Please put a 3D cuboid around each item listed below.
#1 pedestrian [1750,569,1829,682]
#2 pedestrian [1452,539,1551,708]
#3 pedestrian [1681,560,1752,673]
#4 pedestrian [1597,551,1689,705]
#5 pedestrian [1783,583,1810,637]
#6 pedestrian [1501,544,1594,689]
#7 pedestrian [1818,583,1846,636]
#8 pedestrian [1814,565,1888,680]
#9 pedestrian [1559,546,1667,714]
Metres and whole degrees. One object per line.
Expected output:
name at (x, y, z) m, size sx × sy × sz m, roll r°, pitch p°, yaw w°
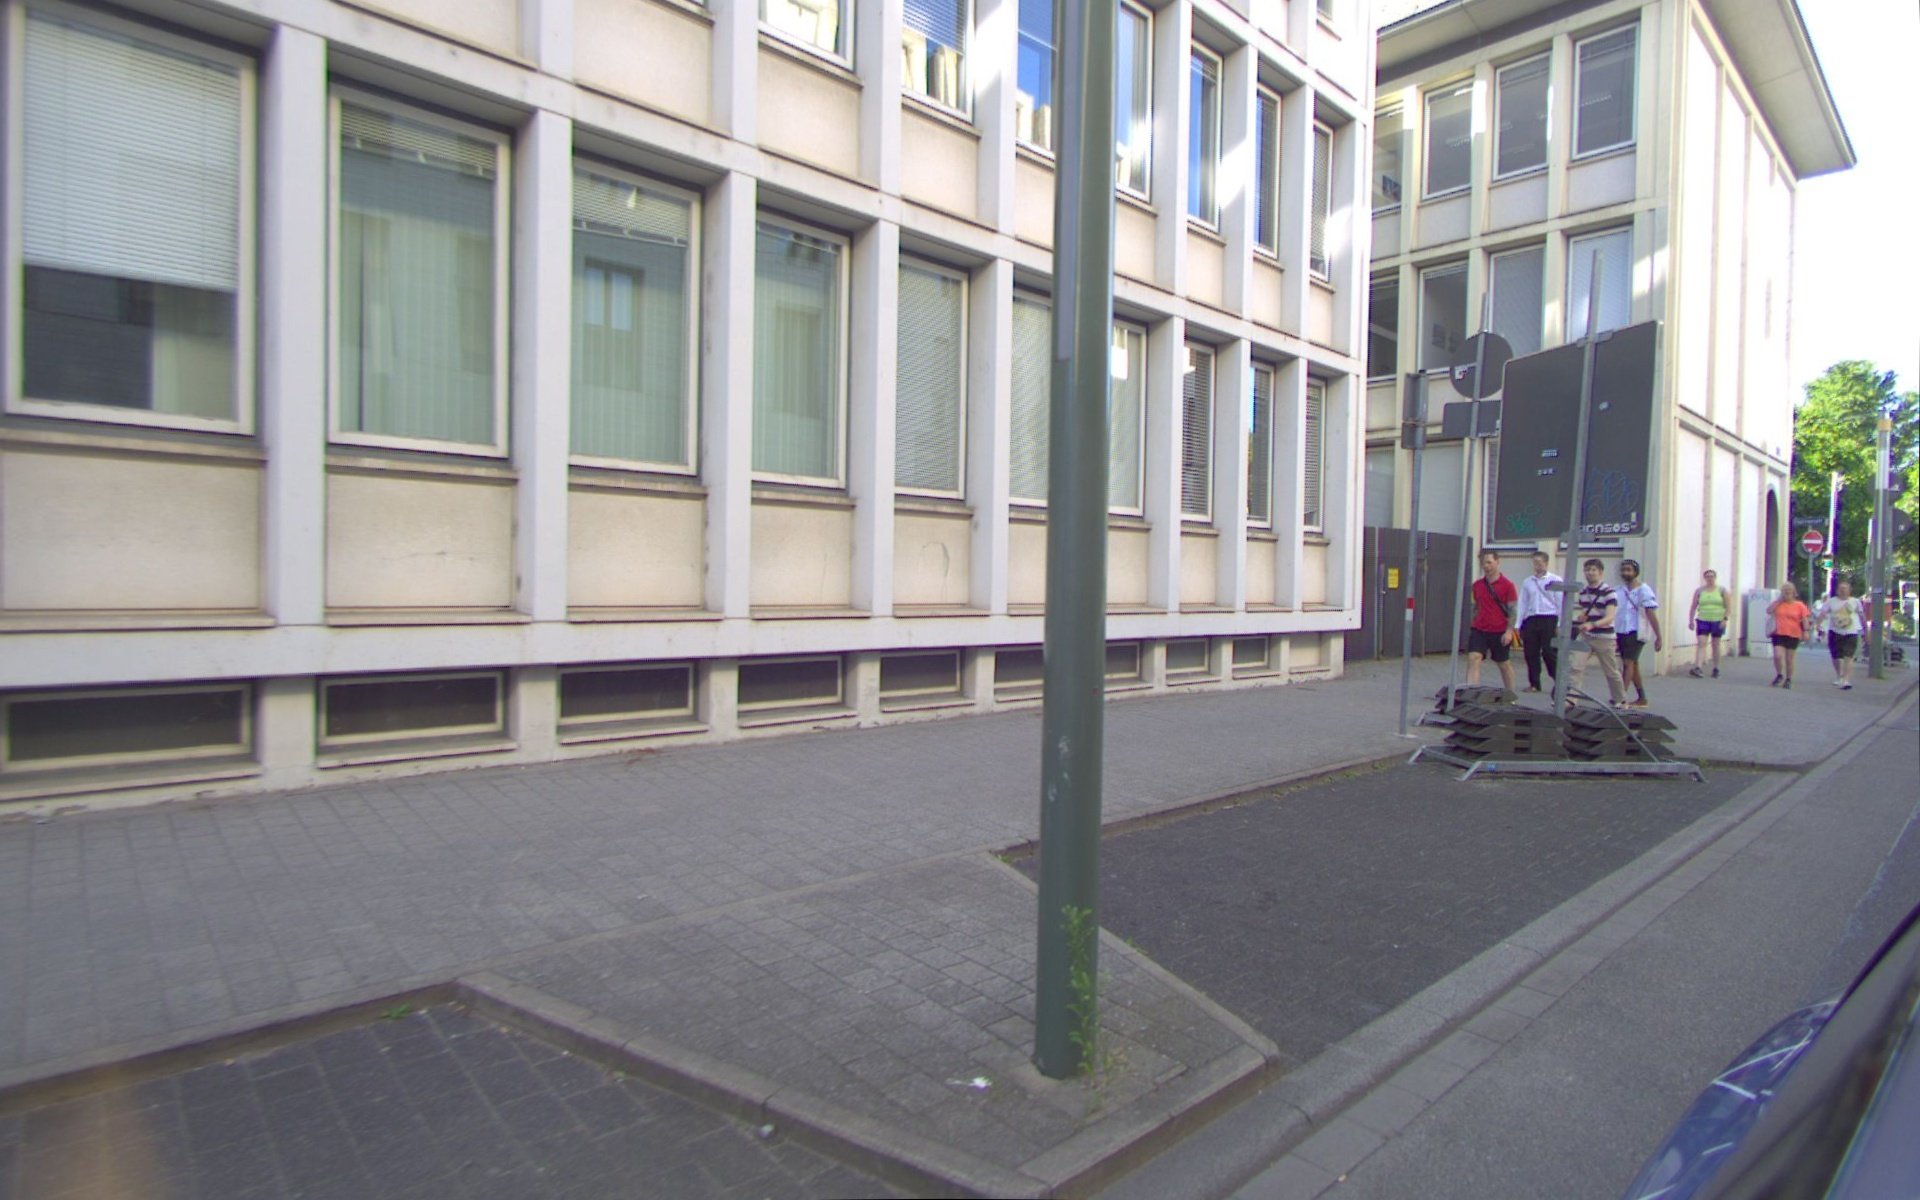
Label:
pedestrian at (12.864, 0.378, 15.699) m, size 0.681 × 1.655 × 0.685 m, roll 0°, pitch 6°, yaw -40°
pedestrian at (6.064, 0.243, 11.337) m, size 0.583 × 1.799 × 0.685 m, roll 0°, pitch 5°, yaw -40°
pedestrian at (12.239, 0.250, 16.378) m, size 0.681 × 1.736 × 0.685 m, roll 0°, pitch 4°, yaw -40°
pedestrian at (8.364, 0.323, 12.396) m, size 0.681 × 1.800 × 0.685 m, roll 0°, pitch 3°, yaw -40°
pedestrian at (25.966, 0.298, 31.406) m, size 0.624 × 1.662 × 0.614 m, roll 1°, pitch 1°, yaw 42°
pedestrian at (7.753, 0.204, 13.368) m, size 0.681 × 1.799 × 0.685 m, roll 0°, pitch 7°, yaw -40°
pedestrian at (27.072, 0.288, 31.413) m, size 0.624 × 1.634 × 0.614 m, roll 1°, pitch 1°, yaw 42°
pedestrian at (14.089, 0.345, 16.010) m, size 0.681 × 1.736 × 0.685 m, roll 0°, pitch 4°, yaw -40°
pedestrian at (7.471, 0.320, 11.585) m, size 0.681 × 1.799 × 0.685 m, roll 0°, pitch 7°, yaw -40°
